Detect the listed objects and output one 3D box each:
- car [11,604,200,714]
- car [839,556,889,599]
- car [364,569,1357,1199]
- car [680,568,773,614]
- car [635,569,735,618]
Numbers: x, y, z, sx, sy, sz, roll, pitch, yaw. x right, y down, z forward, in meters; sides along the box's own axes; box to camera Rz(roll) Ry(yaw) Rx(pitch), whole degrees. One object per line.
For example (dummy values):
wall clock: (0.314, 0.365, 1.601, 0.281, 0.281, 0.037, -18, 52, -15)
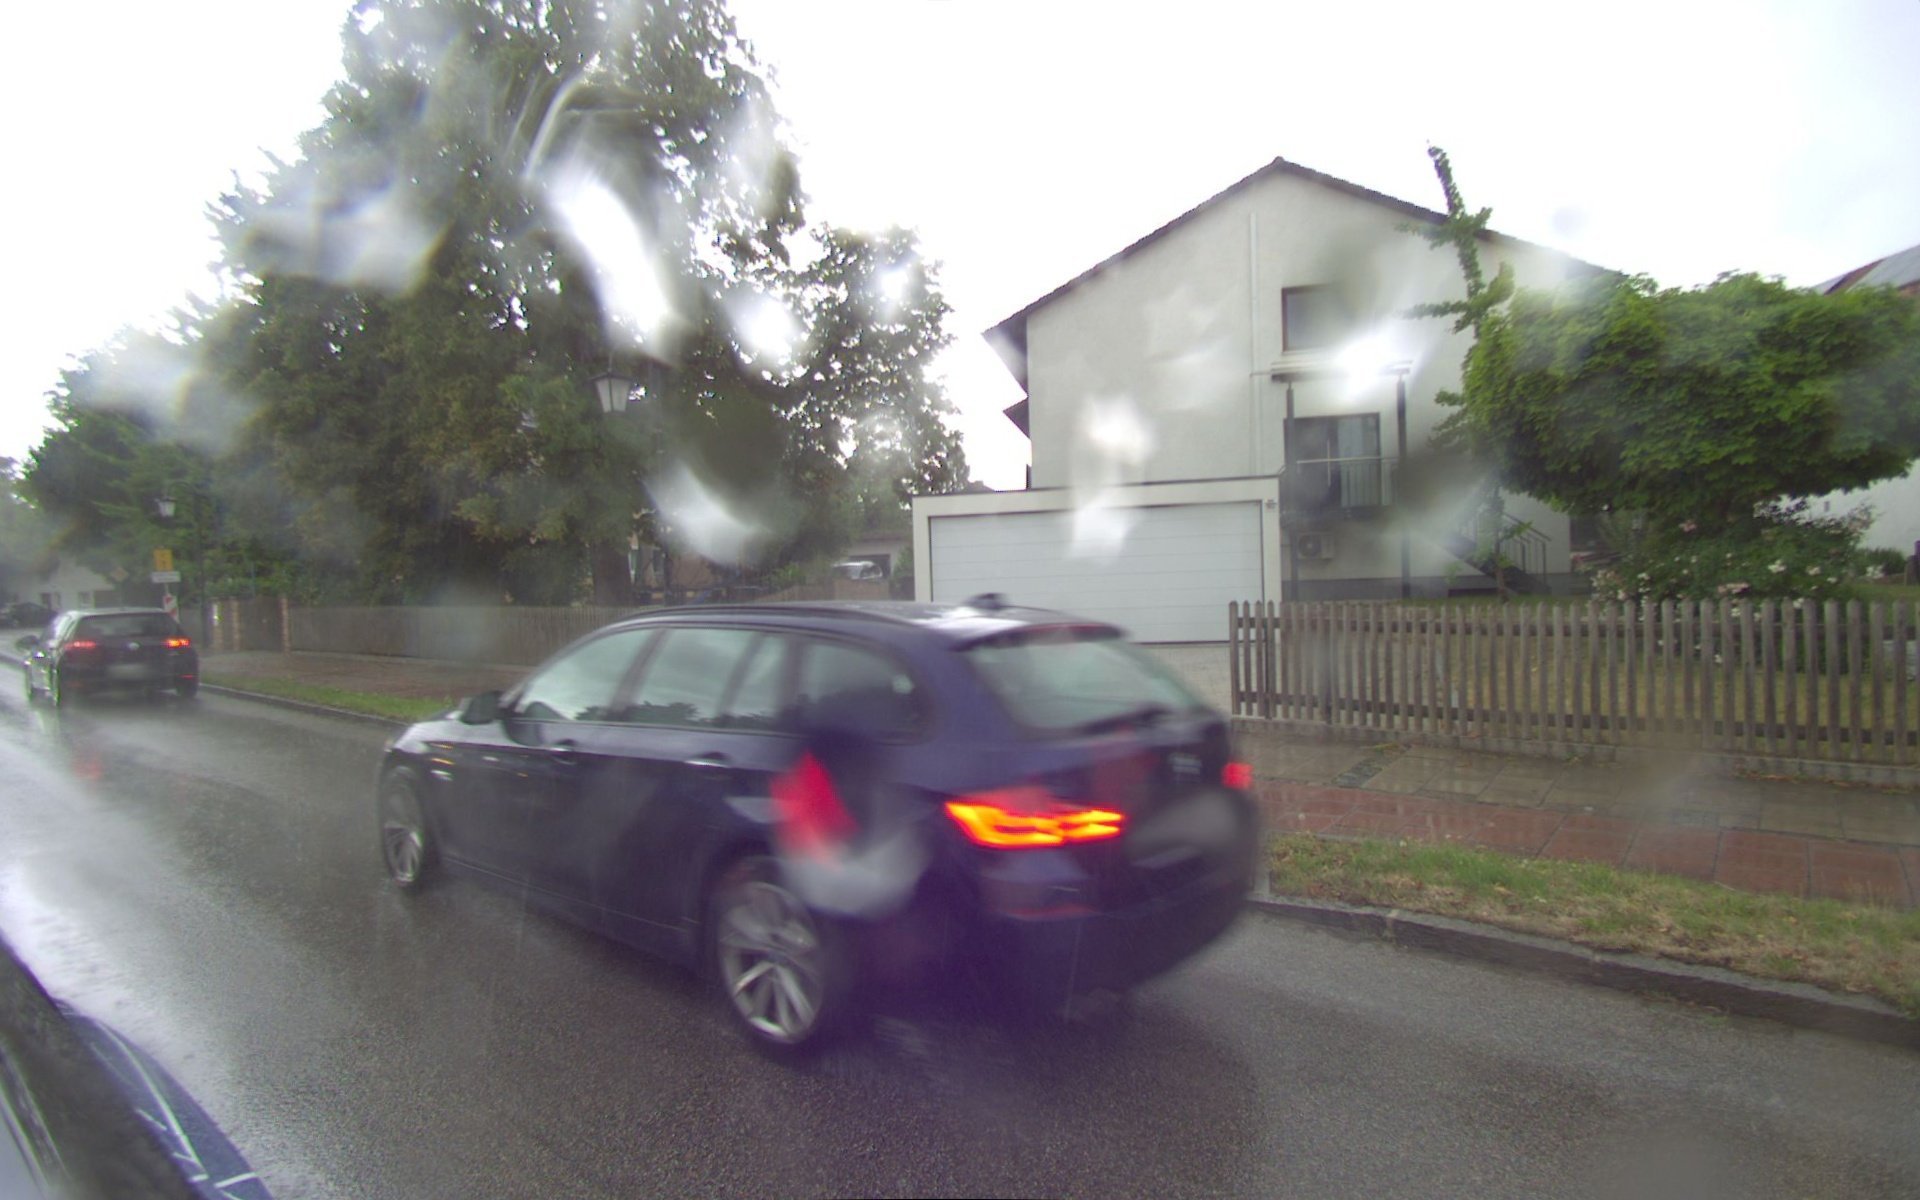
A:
car: (-13.684, 0.852, 16.127, 3.998, 1.476, 1.691, -1, 1, 41)
car: (-5.338, -1.232, 56.877, 1.767, 2.311, 3.838, -1, 0, 11)
car: (-0.791, 0.678, 4.427, 4.371, 1.476, 1.762, -1, 1, 40)
car: (-10.603, -0.443, 46.028, 3.613, 1.815, 1.839, -3, 2, 7)
car: (-11.694, -0.287, 43.209, 3.613, 1.815, 1.839, -3, 2, 7)
